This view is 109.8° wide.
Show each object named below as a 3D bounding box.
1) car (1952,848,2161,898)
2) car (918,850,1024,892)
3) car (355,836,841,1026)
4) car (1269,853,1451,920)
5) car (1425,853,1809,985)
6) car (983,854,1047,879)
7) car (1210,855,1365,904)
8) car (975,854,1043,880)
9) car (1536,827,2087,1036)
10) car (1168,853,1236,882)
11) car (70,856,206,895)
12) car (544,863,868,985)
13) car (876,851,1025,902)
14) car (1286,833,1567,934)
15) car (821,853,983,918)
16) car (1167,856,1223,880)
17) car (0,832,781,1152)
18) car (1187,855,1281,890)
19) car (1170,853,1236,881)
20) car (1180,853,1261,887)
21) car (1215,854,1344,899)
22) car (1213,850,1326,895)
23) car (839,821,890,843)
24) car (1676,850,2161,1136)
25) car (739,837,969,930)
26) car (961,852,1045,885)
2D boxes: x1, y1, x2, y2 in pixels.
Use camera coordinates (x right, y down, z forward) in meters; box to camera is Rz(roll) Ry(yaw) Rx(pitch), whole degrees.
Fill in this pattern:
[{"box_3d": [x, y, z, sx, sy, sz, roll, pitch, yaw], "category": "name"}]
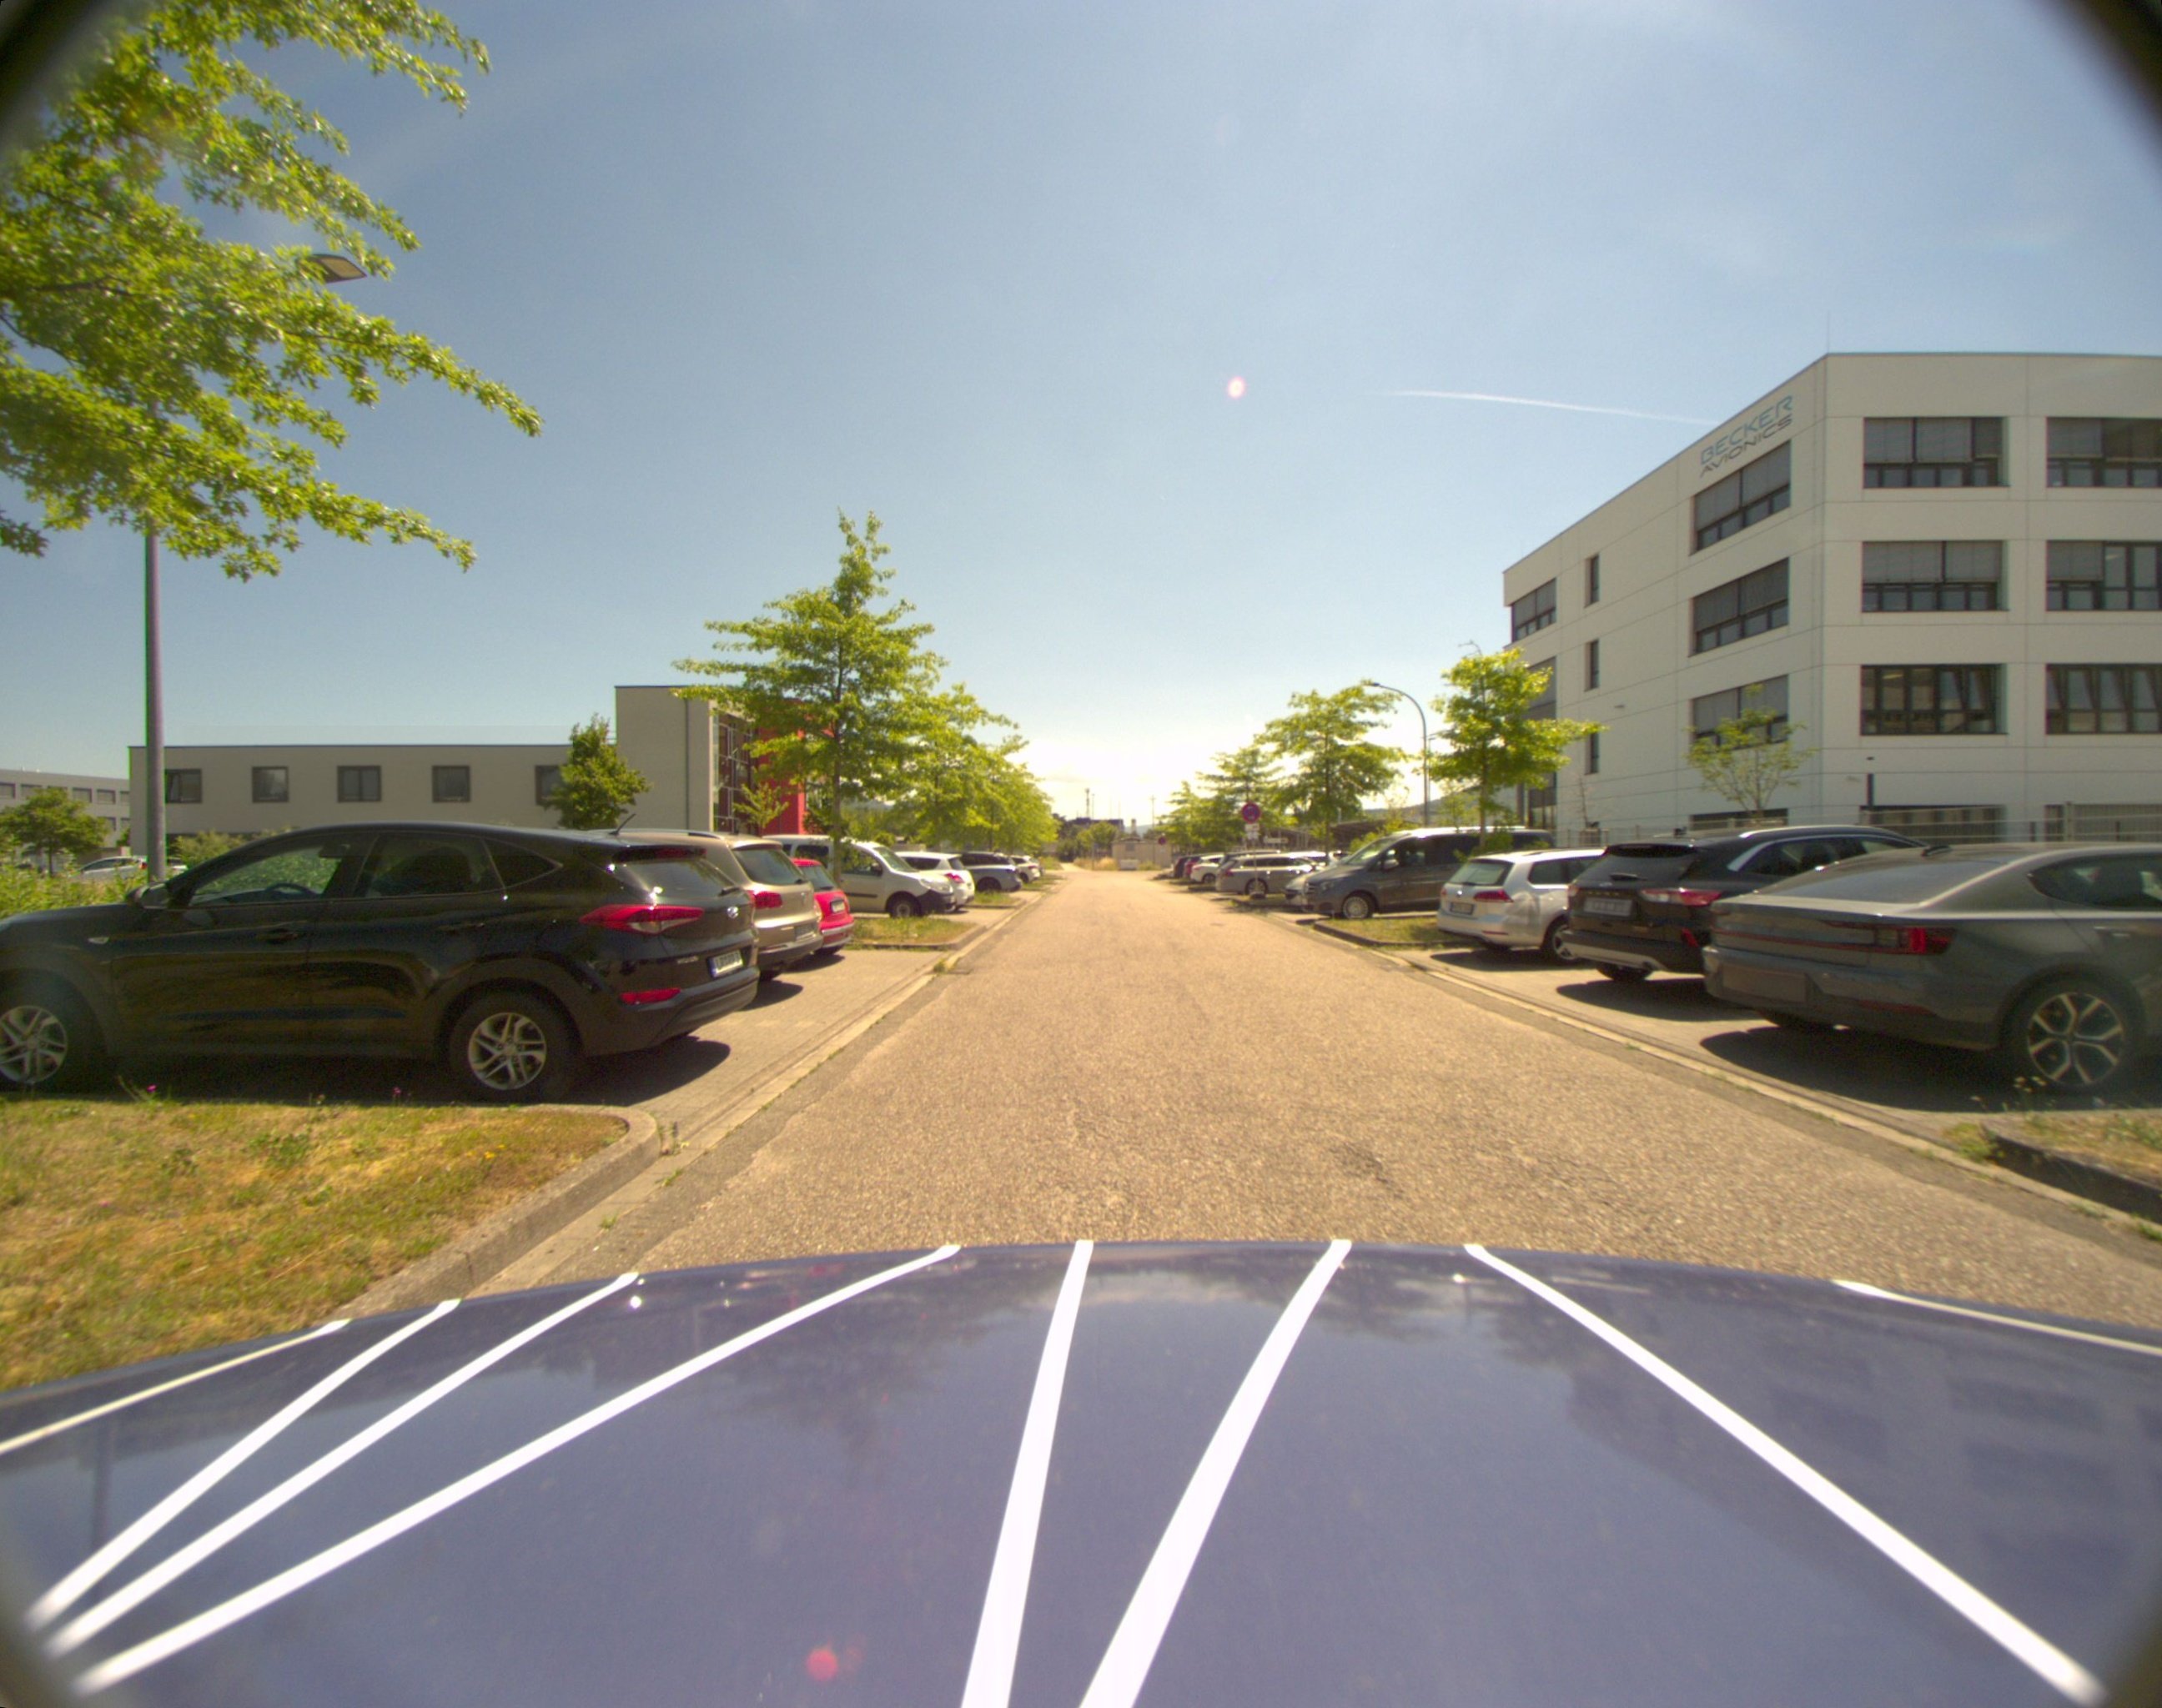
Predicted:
[{"box_3d": [27.192, 0.458, 20.838, 1.998, 1.221, 3.999, 0, 1, 1], "category": "car"}, {"box_3d": [-4.449, 0.680, 31.106, 4.056, 1.615, 1.693, 1, 0, 1], "category": "car"}, {"box_3d": [-4.735, 0.706, 7.875, 3.885, 1.668, 1.782, 1, 0, 1], "category": "car"}, {"box_3d": [7.025, 0.798, 19.425, 3.978, 1.475, 1.764, -3, 0, 1], "category": "car"}, {"box_3d": [7.046, 0.804, 10.250, 4.048, 1.452, 1.604, -3, 0, -2], "category": "car"}, {"box_3d": [-4.423, 0.853, 51.181, 4.004, 1.481, 1.728, 2, 0, 5], "category": "car"}, {"box_3d": [6.936, 0.848, 25.863, 4.725, 1.439, 1.857, -2, 0, 0], "category": "car"}, {"box_3d": [-4.622, 0.813, 48.868, 4.119, 1.640, 1.774, 0, 0, 3], "category": "car"}, {"box_3d": [7.136, 0.681, 7.701, 3.998, 1.669, 1.776, -3, 0, -4], "category": "car"}, {"box_3d": [7.325, 0.815, 46.202, 3.915, 1.582, 1.728, -2, 0, 5], "category": "car"}, {"box_3d": [-37.737, 0.839, 30.478, 3.331, 1.501, 1.719, 0, 0, 1], "category": "car"}, {"box_3d": [-4.867, 0.867, 10.221, 3.466, 1.408, 1.754, 1, 0, 1], "category": "car"}, {"box_3d": [-4.302, 0.731, 25.703, 4.729, 1.552, 1.913, 1, 0, -3], "category": "car"}, {"box_3d": [7.231, 0.600, 16.343, 5.082, 1.880, 1.997, -2, 0, 2], "category": "car"}, {"box_3d": [-4.459, 0.756, 19.256, 3.640, 1.494, 1.676, 1, 1, 2], "category": "car"}, {"box_3d": [7.694, 0.922, 51.390, 3.513, 1.432, 1.727, -2, 0, 0], "category": "car"}, {"box_3d": [-4.450, 0.748, 5.036, 4.184, 1.686, 1.782, 1, 0, 0], "category": "car"}, {"box_3d": [7.406, 0.915, 37.049, 4.182, 1.504, 1.808, -3, -1, 2], "category": "car"}, {"box_3d": [7.845, 0.838, 48.947, 3.848, 1.584, 1.829, -2, 0, -2], "category": "car"}, {"box_3d": [7.274, 0.828, 39.852, 3.849, 1.582, 1.727, -2, 0, -1], "category": "car"}, {"box_3d": [7.335, 0.827, 28.399, 4.322, 1.464, 1.727, -2, 0, -1], "category": "car"}, {"box_3d": [7.574, 0.727, 30.781, 4.127, 1.625, 1.728, -2, 0, 3], "category": "car"}, {"box_3d": [-19.308, -1.996, 67.881, 3.997, 1.764, 1.811, -1, -2, 0], "category": "car"}, {"box_3d": [6.837, 0.780, 5.140, 4.203, 1.471, 1.713, -3, 0, 1], "category": "car"}, {"box_3d": [-4.826, 0.603, 16.570, 4.413, 1.819, 1.796, 1, 1, 2], "category": "car"}, {"box_3d": [-3.823, 0.706, 37.739, 3.842, 1.544, 1.780, 0, -1, 6], "category": "car"}]
